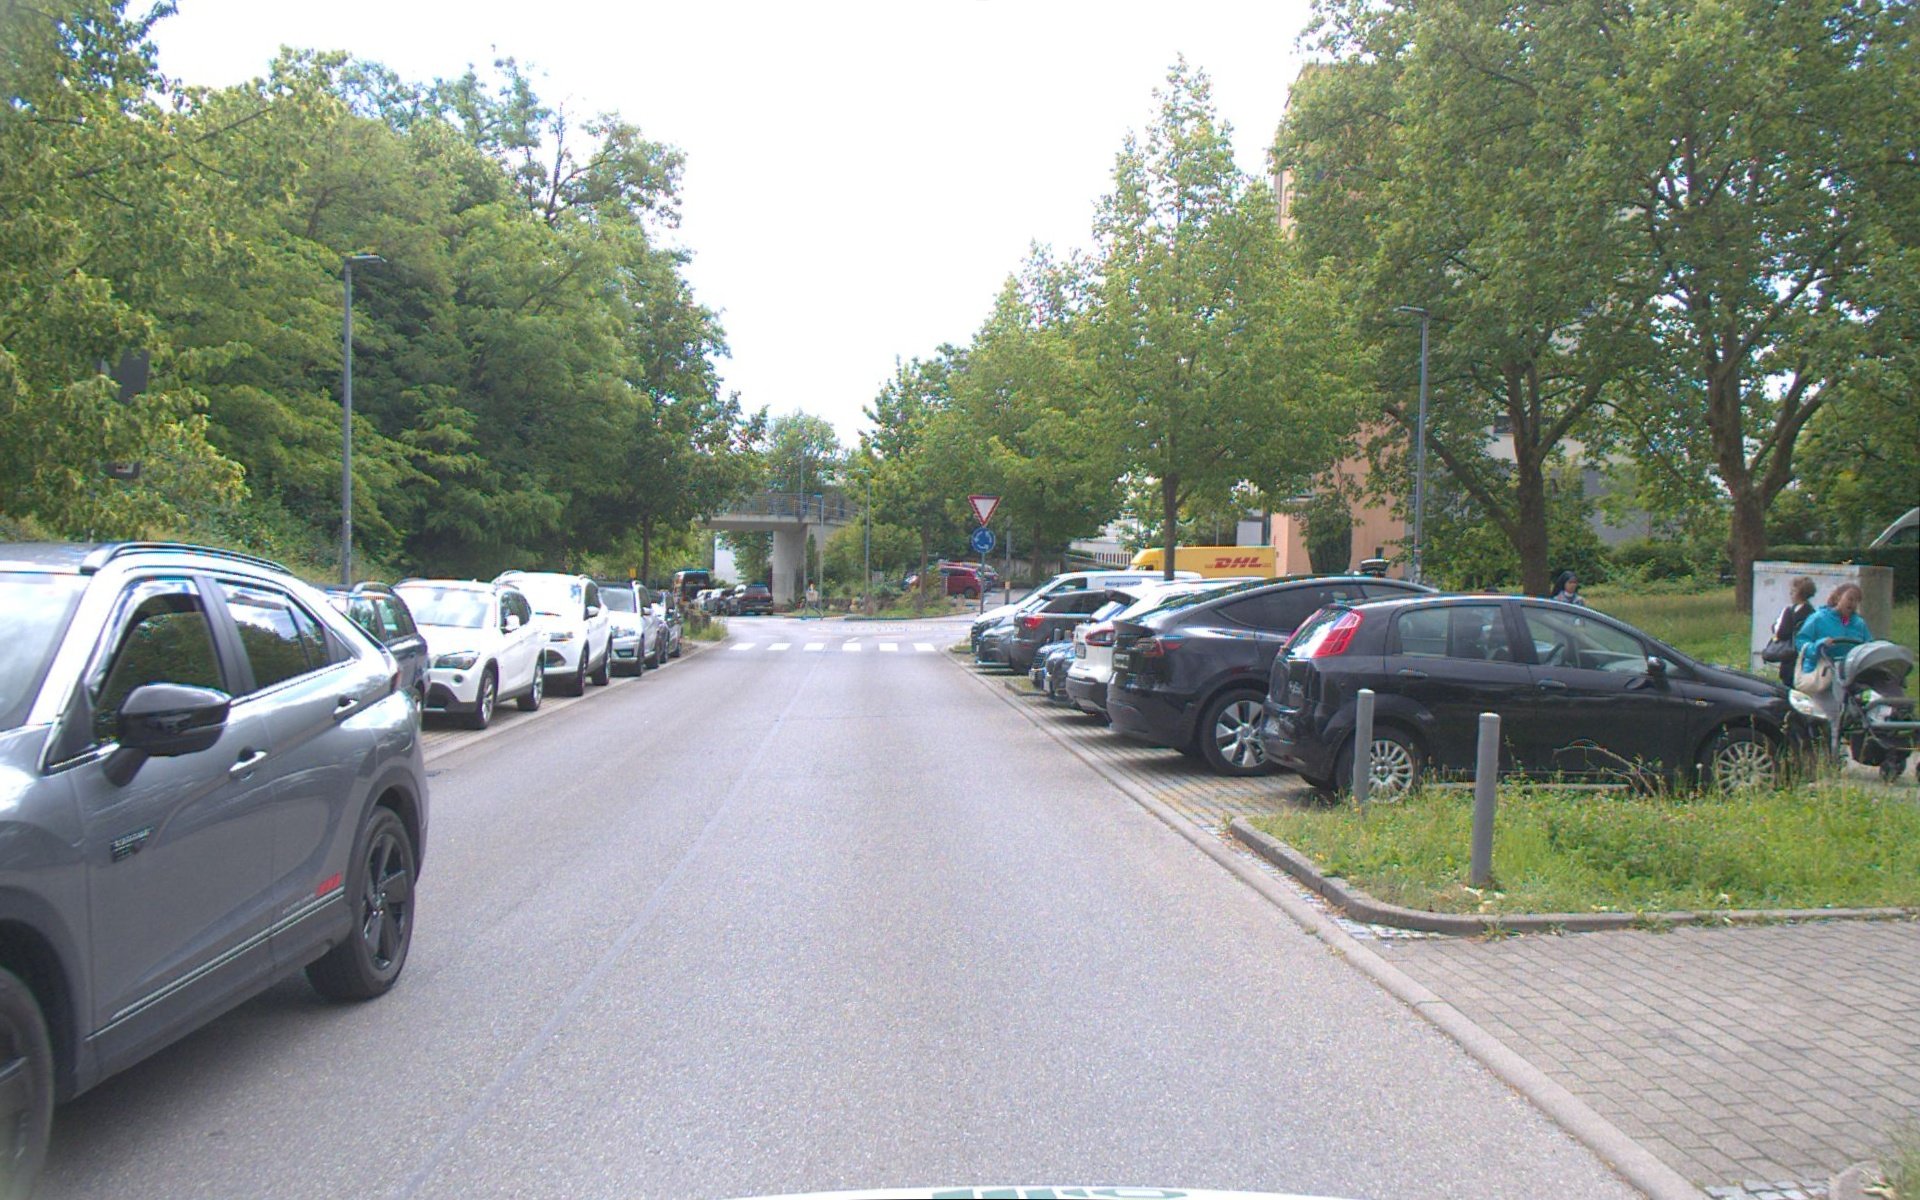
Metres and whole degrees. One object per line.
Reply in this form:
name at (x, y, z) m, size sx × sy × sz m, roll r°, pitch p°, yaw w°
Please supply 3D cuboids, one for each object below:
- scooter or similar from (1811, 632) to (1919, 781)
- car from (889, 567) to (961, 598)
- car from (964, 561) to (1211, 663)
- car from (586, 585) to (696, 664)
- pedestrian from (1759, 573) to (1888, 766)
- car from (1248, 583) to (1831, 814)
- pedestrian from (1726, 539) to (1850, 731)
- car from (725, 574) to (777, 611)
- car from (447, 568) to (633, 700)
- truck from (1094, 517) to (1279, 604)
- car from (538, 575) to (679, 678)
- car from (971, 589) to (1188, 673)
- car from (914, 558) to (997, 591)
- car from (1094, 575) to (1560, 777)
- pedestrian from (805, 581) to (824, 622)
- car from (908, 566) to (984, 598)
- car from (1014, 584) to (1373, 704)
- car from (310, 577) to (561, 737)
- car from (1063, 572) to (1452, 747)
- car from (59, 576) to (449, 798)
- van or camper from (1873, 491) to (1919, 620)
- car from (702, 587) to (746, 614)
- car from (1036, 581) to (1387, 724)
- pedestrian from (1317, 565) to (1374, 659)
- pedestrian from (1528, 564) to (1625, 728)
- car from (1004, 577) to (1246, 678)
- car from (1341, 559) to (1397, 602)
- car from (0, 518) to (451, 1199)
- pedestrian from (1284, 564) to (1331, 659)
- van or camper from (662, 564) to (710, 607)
scooter or similar at (6.931, 0.778, 12.401) m, size 0.568 × 1.041 × 0.943 m, roll 1°, pitch 1°, yaw -3°
car at (-1.801, -0.927, 85.259) m, size 3.574 × 1.524 × 1.685 m, roll 1°, pitch 1°, yaw 2°
car at (2.527, 0.222, 33.308) m, size 4.682 × 1.863 × 1.840 m, roll -1°, pitch 0°, yaw -6°
car at (-6.869, 0.485, 35.985) m, size 1.656 × 1.490 × 4.454 m, roll 4°, pitch 1°, yaw -3°
pedestrian at (6.901, 0.539, 13.241) m, size 0.606 × 1.494 × 0.735 m, roll 1°, pitch 1°, yaw -3°
car at (4.014, 0.653, 11.844) m, size 3.596 × 1.524 × 1.645 m, roll 0°, pitch 1°, yaw -1°
pedestrian at (8.108, 0.329, 16.228) m, size 0.725 × 1.824 × 0.878 m, roll 1°, pitch 1°, yaw -3°
car at (-11.245, -0.369, 88.653) m, size 1.788 × 1.708 × 4.342 m, roll -1°, pitch -3°, yaw -21°
car at (-6.169, 0.433, 24.779) m, size 1.771 × 1.693 × 4.434 m, roll 4°, pitch 1°, yaw -3°
truck at (8.655, -1.498, 63.513) m, size 6.665 × 2.750 × 2.472 m, roll 3°, pitch -5°, yaw -2°
car at (-6.394, 0.427, 30.564) m, size 1.763 × 1.643 × 4.476 m, roll 4°, pitch 1°, yaw -3°
car at (2.157, 0.541, 30.497) m, size 3.749 × 1.395 × 1.841 m, roll -1°, pitch 0°, yaw -4°
car at (-0.256, -1.382, 90.118) m, size 4.450 × 1.697 × 1.944 m, roll 1°, pitch 1°, yaw 0°
car at (3.013, 0.604, 14.061) m, size 3.596 × 1.601 × 1.593 m, roll 0°, pitch 1°, yaw -1°
pedestrian at (-6.286, 0.059, 71.374) m, size 0.644 × 1.752 × 0.740 m, roll 1°, pitch 1°, yaw 6°
car at (-0.680, -0.869, 80.023) m, size 3.574 × 1.464 × 1.685 m, roll 1°, pitch 1°, yaw 2°
car at (3.105, 0.556, 22.472) m, size 4.489 × 1.518 × 1.948 m, roll 0°, pitch 0°, yaw -8°
car at (-5.905, 0.559, 19.133) m, size 1.656 × 1.537 × 4.228 m, roll 4°, pitch 1°, yaw -3°
car at (2.912, 0.561, 16.785) m, size 3.596 × 1.675 × 1.851 m, roll 0°, pitch 1°, yaw -1°
car at (-5.740, 0.604, 13.999) m, size 1.656 × 1.513 × 3.951 m, roll 4°, pitch 1°, yaw -3°
van or camper at (22.891, -0.947, 36.800) m, size 4.379 × 2.847 × 2.113 m, roll 1°, pitch 1°, yaw 27°
car at (-13.528, 0.040, 94.793) m, size 1.674 × 1.523 × 4.094 m, roll -1°, pitch 0°, yaw -20°
car at (2.875, 0.591, 19.556) m, size 3.903 × 1.545 × 1.884 m, roll 1°, pitch 0°, yaw 3°
pedestrian at (7.004, 0.210, 30.101) m, size 0.852 × 1.685 × 0.592 m, roll 1°, pitch 1°, yaw -5°
pedestrian at (7.052, 0.506, 18.956) m, size 0.725 × 1.824 × 0.878 m, roll 1°, pitch 1°, yaw -3°
car at (2.749, 0.436, 28.057) m, size 3.751 × 1.546 × 1.909 m, roll -1°, pitch 0°, yaw -7°
car at (16.840, -0.807, 68.202) m, size 1.535 × 1.687 × 3.779 m, roll -2°, pitch 1°, yaw 4°
car at (-2.995, 0.643, 4.646) m, size 1.857 × 1.610 × 4.167 m, roll -1°, pitch 0°, yaw -1°
pedestrian at (6.299, 0.201, 30.024) m, size 0.675 × 1.685 × 0.599 m, roll 1°, pitch 1°, yaw -5°
van or camper at (-17.484, -0.887, 105.380) m, size 1.964 × 2.567 × 5.438 m, roll -2°, pitch 0°, yaw -20°
